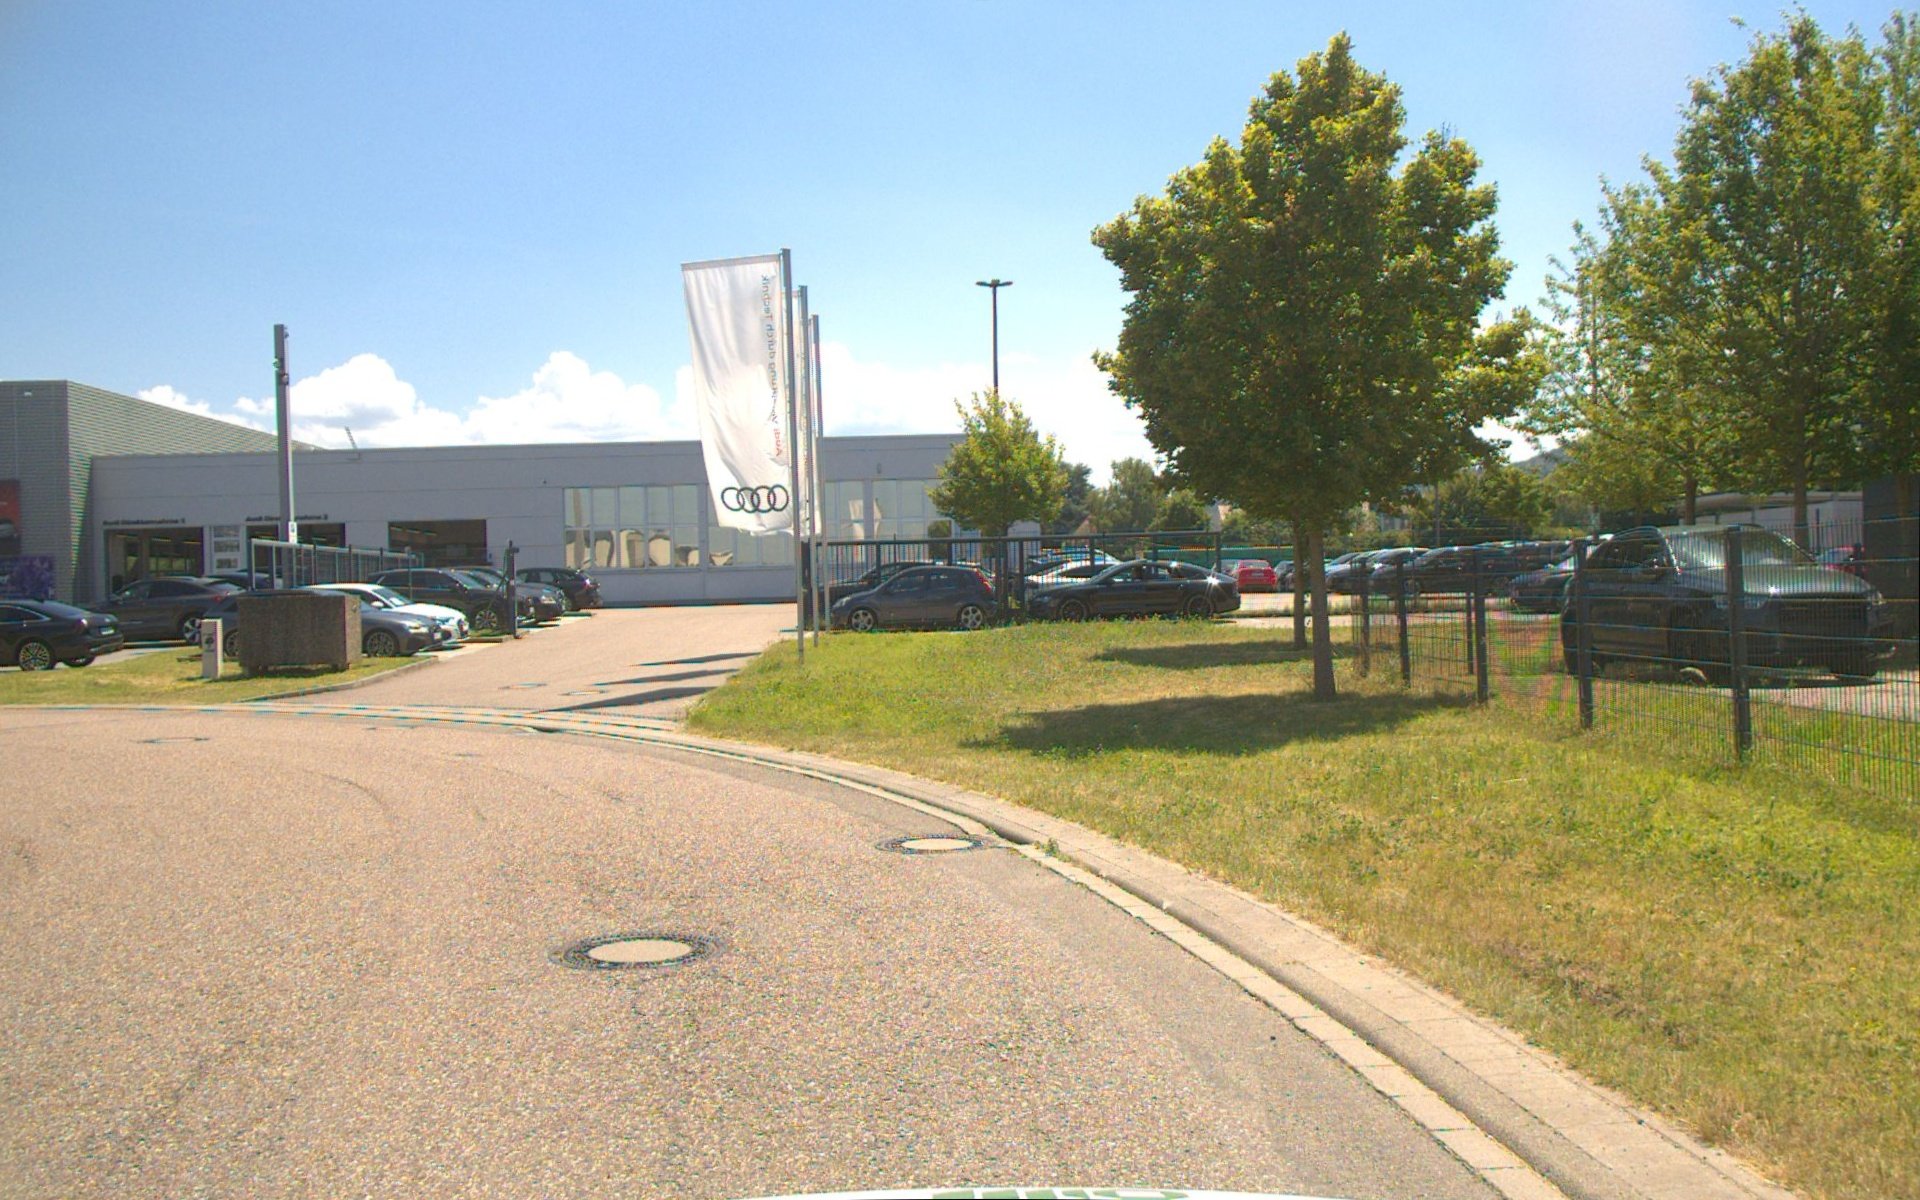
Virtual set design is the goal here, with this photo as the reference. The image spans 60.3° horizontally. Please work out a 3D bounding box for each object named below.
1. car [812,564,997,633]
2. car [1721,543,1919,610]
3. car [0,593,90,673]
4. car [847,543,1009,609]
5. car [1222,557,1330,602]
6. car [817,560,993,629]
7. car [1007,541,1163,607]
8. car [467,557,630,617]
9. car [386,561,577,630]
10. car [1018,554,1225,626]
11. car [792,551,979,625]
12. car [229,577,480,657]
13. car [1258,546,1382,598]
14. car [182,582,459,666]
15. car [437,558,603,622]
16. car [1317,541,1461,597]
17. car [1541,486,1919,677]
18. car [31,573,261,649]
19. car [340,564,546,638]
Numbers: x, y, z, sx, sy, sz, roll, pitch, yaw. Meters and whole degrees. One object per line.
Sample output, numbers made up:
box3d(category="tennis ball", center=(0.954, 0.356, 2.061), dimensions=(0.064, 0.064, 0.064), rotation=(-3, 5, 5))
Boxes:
box3d(category="car", center=(-1.220, -0.051, 37.521), dimensions=(4.047, 1.373, 1.780), rotation=(-2, 1, 0))
box3d(category="car", center=(20.056, -0.563, 38.247), dimensions=(4.074, 1.381, 1.780), rotation=(-2, 1, 0))
box3d(category="car", center=(-20.534, 0.708, 33.330), dimensions=(4.908, 1.480, 1.885), rotation=(-2, 2, -3))
box3d(category="car", center=(-0.946, -0.681, 47.520), dimensions=(4.520, 1.658, 1.966), rotation=(-2, 0, -3))
box3d(category="car", center=(13.077, -0.850, 68.558), dimensions=(3.911, 1.717, 1.997), rotation=(-2, 0, -7))
box3d(category="car", center=(-1.467, -0.174, 43.904), dimensions=(4.519, 1.658, 1.967), rotation=(-2, 2, -3))
box3d(category="car", center=(3.469, -0.723, 46.459), dimensions=(4.116, 1.658, 1.794), rotation=(-2, 0, -3))
box3d(category="car", center=(-12.628, -0.413, 50.951), dimensions=(4.519, 1.658, 1.967), rotation=(-2, 2, -3))
box3d(category="car", center=(-12.793, -0.140, 44.448), dimensions=(4.519, 1.658, 1.967), rotation=(-2, 2, -3))
box3d(category="car", center=(3.590, -0.240, 37.358), dimensions=(4.465, 1.426, 1.781), rotation=(-2, 1, 0))
box3d(category="car", center=(-1.850, -0.325, 41.264), dimensions=(4.519, 1.658, 1.967), rotation=(-2, 2, -3))
box3d(category="car", center=(-13.338, 0.346, 36.632), dimensions=(4.831, 1.555, 1.825), rotation=(-2, 2, -3))
box3d(category="car", center=(13.024, -1.011, 59.923), dimensions=(3.911, 1.717, 1.997), rotation=(-2, 0, -7))
box3d(category="car", center=(-12.968, 0.459, 33.778), dimensions=(4.831, 1.493, 1.967), rotation=(-2, 2, -3))
box3d(category="car", center=(-12.687, -0.310, 47.890), dimensions=(4.277, 1.658, 1.967), rotation=(-2, 2, -3))
box3d(category="car", center=(13.498, -0.966, 52.219), dimensions=(3.909, 1.583, 2.111), rotation=(-2, 0, -5))
box3d(category="car", center=(7.617, -0.118, 16.778), dimensions=(1.739, 1.629, 4.280), rotation=(-2, -1, -3))
box3d(category="car", center=(-19.884, 0.263, 40.553), dimensions=(4.675, 1.672, 1.829), rotation=(-2, 0, -3))
box3d(category="car", center=(-12.899, -0.009, 41.484), dimensions=(4.519, 1.658, 1.967), rotation=(-2, 2, -3))
